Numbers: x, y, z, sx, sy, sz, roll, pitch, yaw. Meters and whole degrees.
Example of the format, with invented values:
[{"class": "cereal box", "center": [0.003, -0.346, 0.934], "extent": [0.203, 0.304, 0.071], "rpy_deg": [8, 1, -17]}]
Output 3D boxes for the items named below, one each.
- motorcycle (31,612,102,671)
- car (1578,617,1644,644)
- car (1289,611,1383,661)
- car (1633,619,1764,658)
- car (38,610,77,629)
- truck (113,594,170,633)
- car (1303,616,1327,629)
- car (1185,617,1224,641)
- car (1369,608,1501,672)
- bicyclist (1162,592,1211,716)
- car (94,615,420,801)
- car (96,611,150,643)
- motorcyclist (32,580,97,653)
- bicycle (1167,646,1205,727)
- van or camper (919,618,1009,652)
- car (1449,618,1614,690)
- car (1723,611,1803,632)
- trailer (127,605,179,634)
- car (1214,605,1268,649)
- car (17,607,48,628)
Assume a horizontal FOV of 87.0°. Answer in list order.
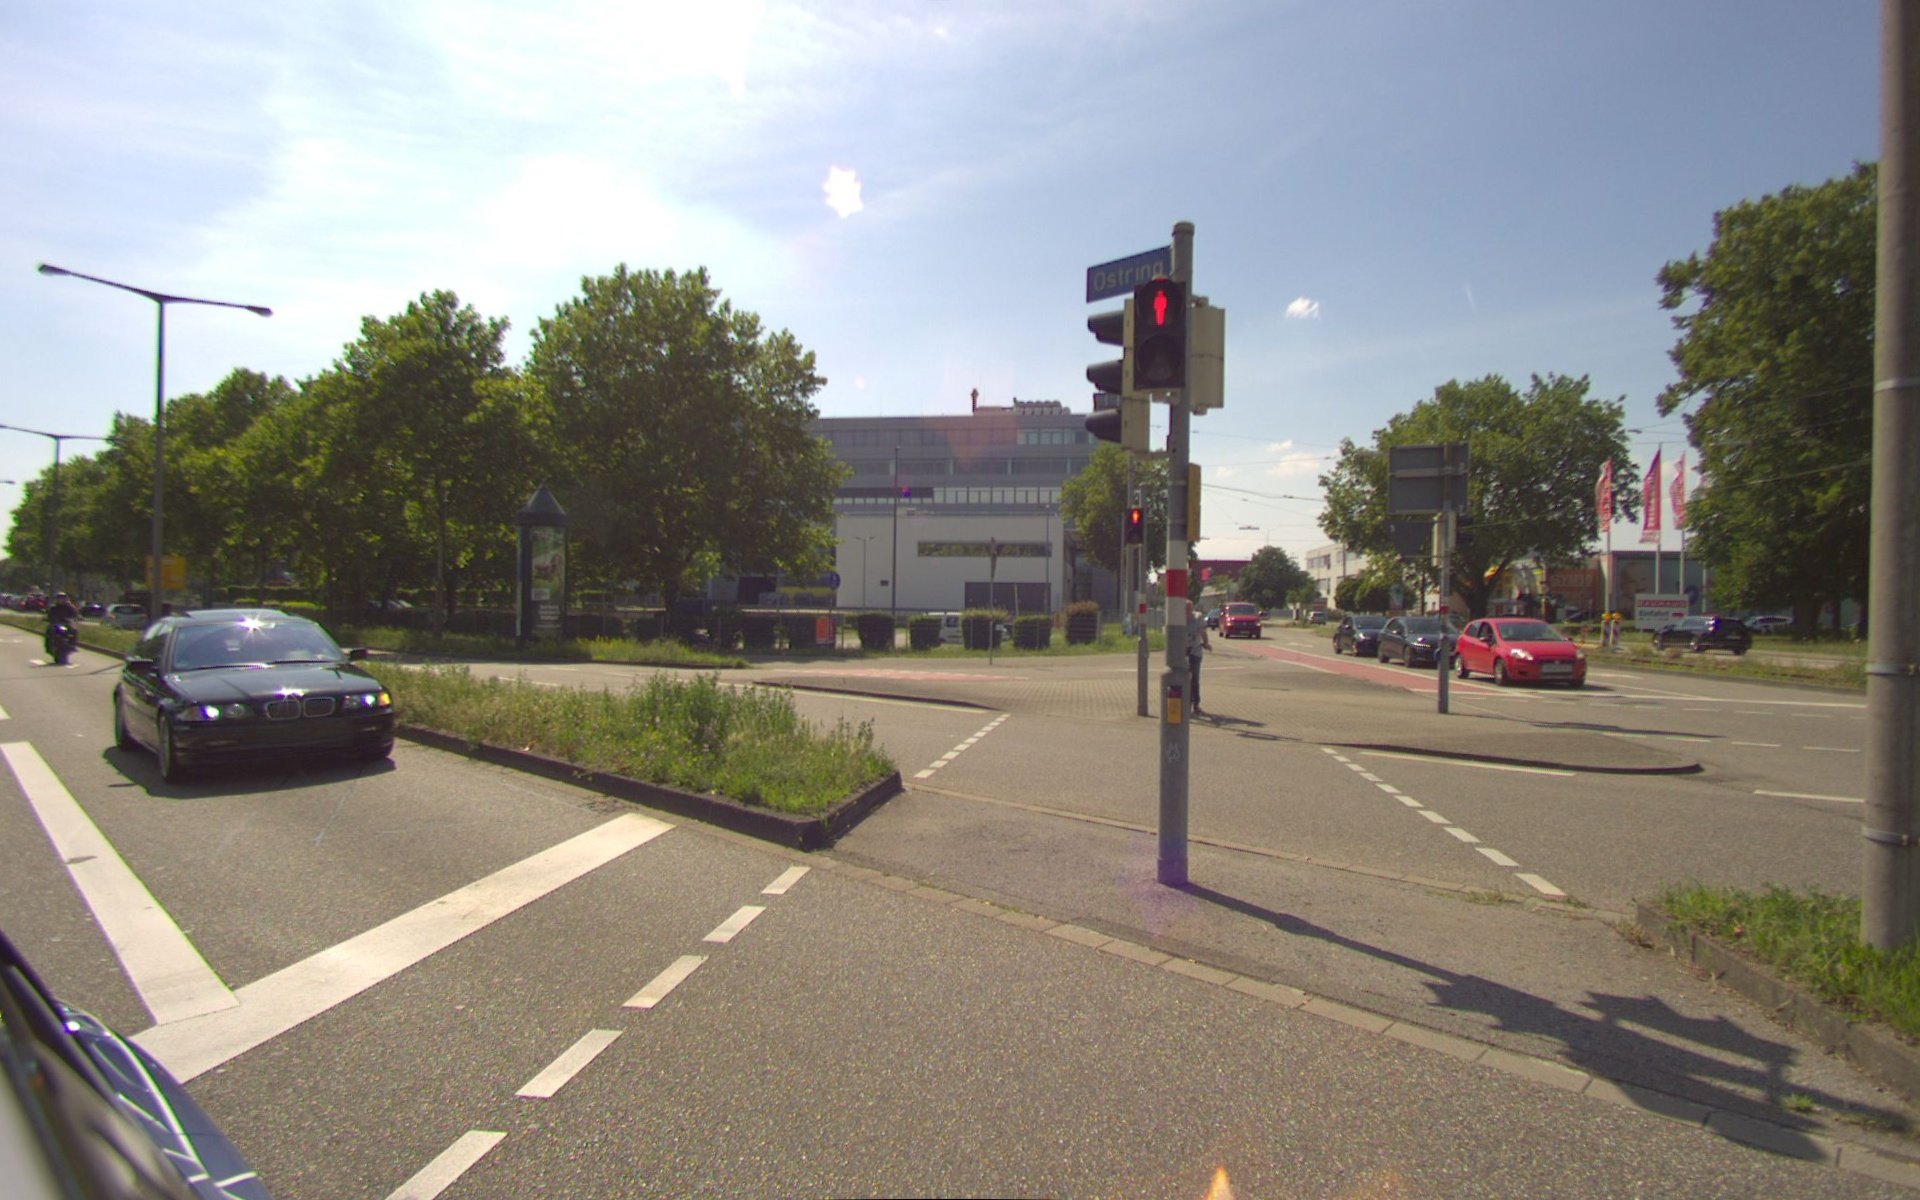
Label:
[{"class": "motorcycle", "center": [-21.562, 0.973, 24.397], "extent": [2.331, 1.361, 1.038], "rpy_deg": [-1, -1, 43]}, {"class": "car", "center": [50.016, 2.321, 77.862], "extent": [3.978, 2.029, 1.982], "rpy_deg": [0, -1, 26]}, {"class": "car", "center": [13.470, 1.262, 36.504], "extent": [1.973, 1.712, 3.998], "rpy_deg": [0, -1, 2]}, {"class": "car", "center": [29.697, 1.518, 40.871], "extent": [1.761, 1.454, 4.231], "rpy_deg": [0, -1, -10]}, {"class": "car", "center": [-68.285, 1.467, 76.560], "extent": [3.766, 1.445, 1.828], "rpy_deg": [-1, -1, 42]}, {"class": "truck", "center": [-54.654, 0.884, 67.516], "extent": [7.131, 2.494, 2.115], "rpy_deg": [-1, -1, 45]}, {"class": "car", "center": [38.316, 2.403, 109.375], "extent": [1.680, 1.438, 3.850], "rpy_deg": [0, -1, 8]}, {"class": "car", "center": [17.828, 2.101, 73.874], "extent": [1.973, 1.712, 3.998], "rpy_deg": [0, -1, 2]}, {"class": "car", "center": [13.712, 1.122, 29.493], "extent": [1.972, 1.712, 3.999], "rpy_deg": [0, -1, 0]}, {"class": "bicyclist", "center": [3.417, 0.795, 15.278], "extent": [0.698, 1.802, 0.764], "rpy_deg": [0, -1, 14]}, {"class": "car", "center": [-6.884, 0.852, 9.740], "extent": [4.066, 1.372, 1.708], "rpy_deg": [-1, 0, 42]}, {"class": "car", "center": [-41.695, 1.339, 50.380], "extent": [3.736, 1.525, 1.631], "rpy_deg": [-1, -1, 43]}, {"class": "motorcyclist", "center": [-21.567, 0.388, 24.381], "extent": [1.042, 1.712, 1.052], "rpy_deg": [-1, -1, 42]}, {"class": "bicycle", "center": [3.424, 1.260, 15.269], "extent": [0.520, 1.072, 2.156], "rpy_deg": [0, -1, 14]}, {"class": "van or camper", "center": [0.245, 1.781, 51.923], "extent": [4.456, 1.704, 1.997], "rpy_deg": [0, -1, 6]}, {"class": "car", "center": [12.714, 1.133, 22.821], "extent": [1.825, 1.460, 3.991], "rpy_deg": [0, -1, 7]}, {"class": "car", "center": [60.647, 1.610, 76.534], "extent": [4.336, 1.576, 1.868], "rpy_deg": [0, -1, 11]}, {"class": "trailer", "center": [-50.697, 1.214, 63.556], "extent": [3.992, 1.729, 2.038], "rpy_deg": [-1, -1, 44]}, {"class": "car", "center": [15.267, 1.458, 55.283], "extent": [2.127, 2.295, 5.029], "rpy_deg": [0, -1, 7]}, {"class": "car", "center": [-91.358, 1.693, 99.629], "extent": [4.001, 2.029, 1.971], "rpy_deg": [-1, -1, 44]}]
